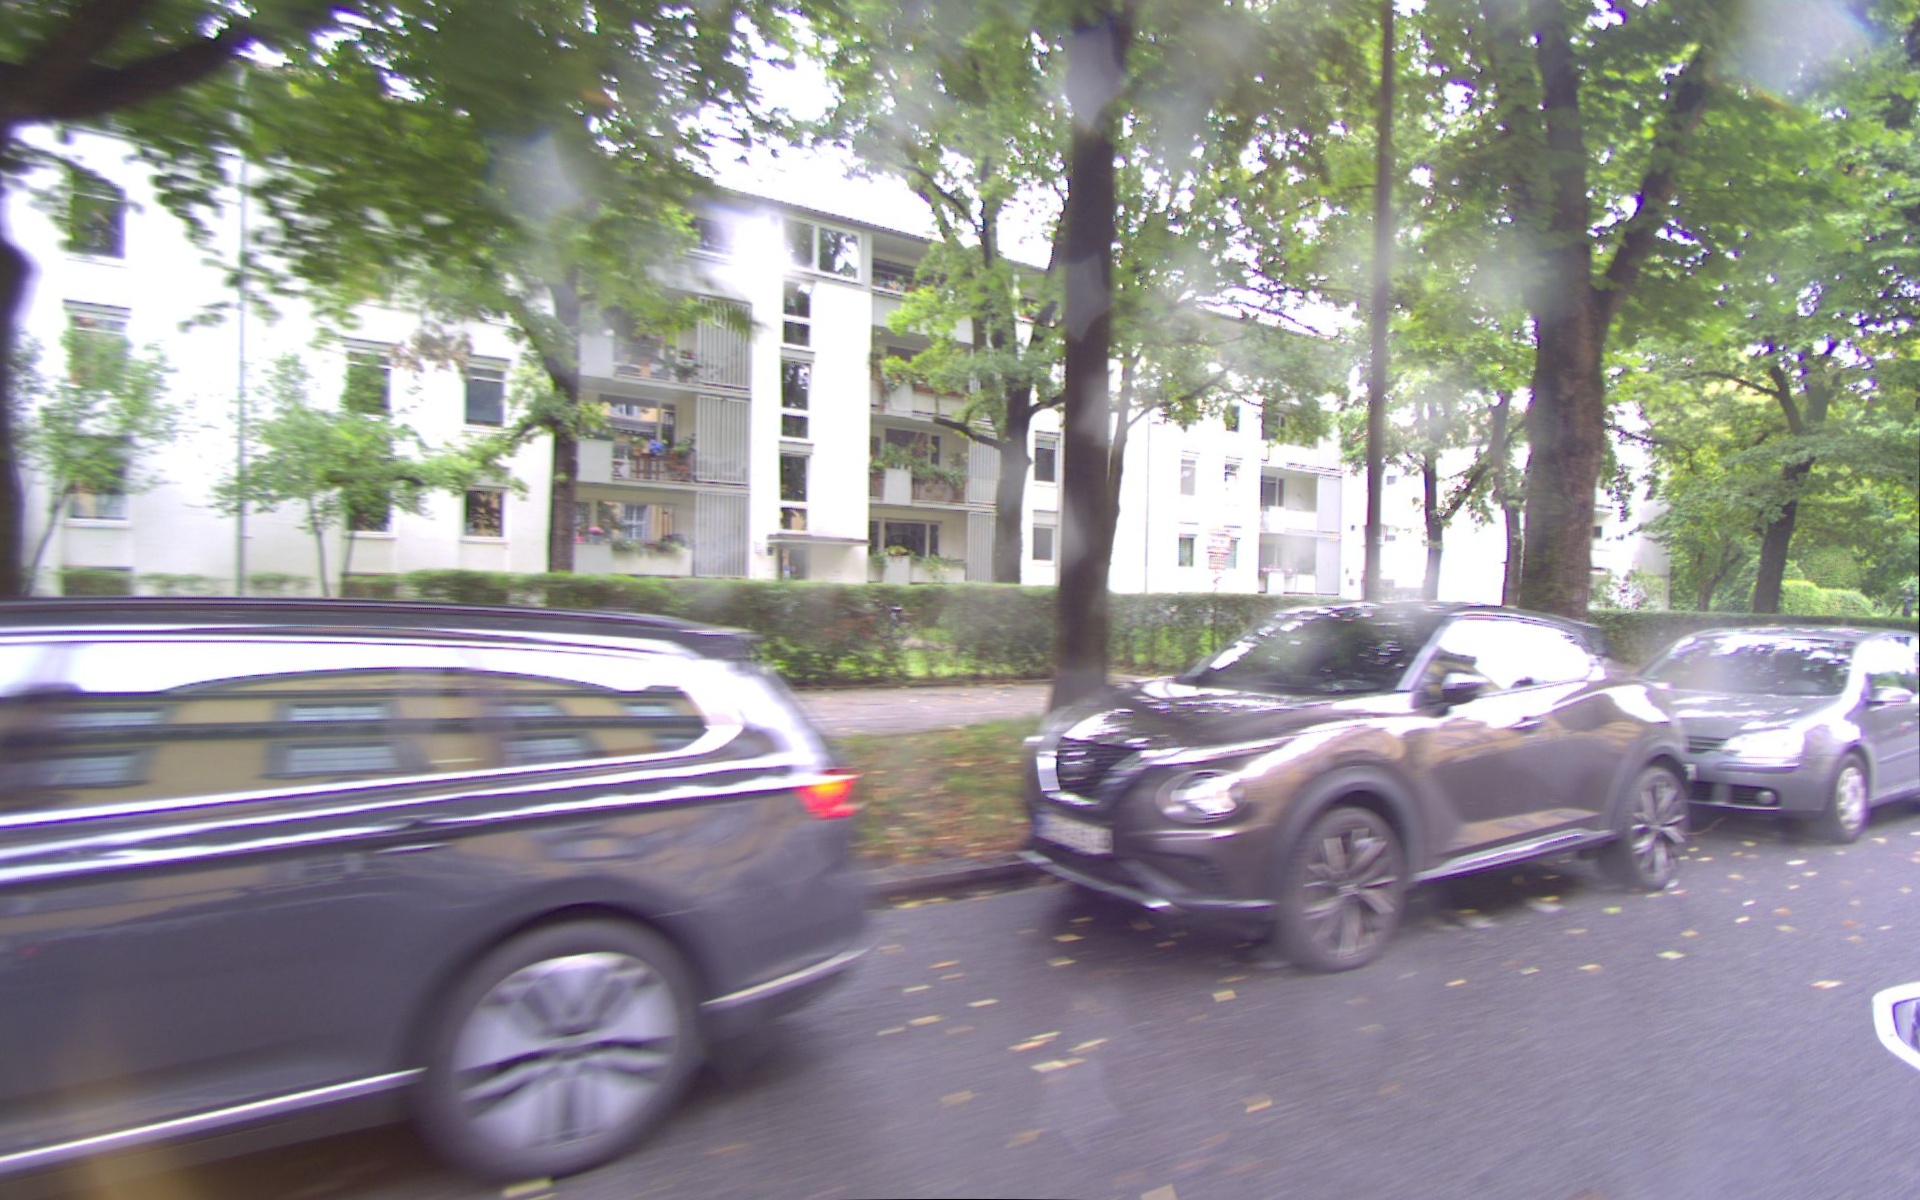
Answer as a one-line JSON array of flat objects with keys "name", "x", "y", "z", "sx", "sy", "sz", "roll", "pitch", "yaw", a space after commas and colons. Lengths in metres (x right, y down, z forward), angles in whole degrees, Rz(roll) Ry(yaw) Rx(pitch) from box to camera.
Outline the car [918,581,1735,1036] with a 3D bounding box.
[{"name": "car", "x": 2.144, "y": 0.754, "z": 5.441, "sx": 4.435, "sy": 1.595, "sz": 1.777, "roll": 1, "pitch": 0, "yaw": -31}]

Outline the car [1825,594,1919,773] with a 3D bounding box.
[{"name": "car", "x": 11.520, "y": 0.881, "z": 10.833, "sx": 4.585, "sy": 1.751, "sz": 1.864, "roll": 2, "pitch": 0, "yaw": -29}]

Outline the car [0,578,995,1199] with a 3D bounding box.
[{"name": "car", "x": -2.335, "y": 0.688, "z": 2.658, "sx": 4.639, "sy": 1.470, "sz": 1.711, "roll": 2, "pitch": 0, "yaw": -30}]

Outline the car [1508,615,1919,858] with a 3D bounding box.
[{"name": "car", "x": 6.409, "y": 0.885, "z": 7.995, "sx": 4.203, "sy": 1.442, "sz": 1.718, "roll": 1, "pitch": 0, "yaw": -31}]
